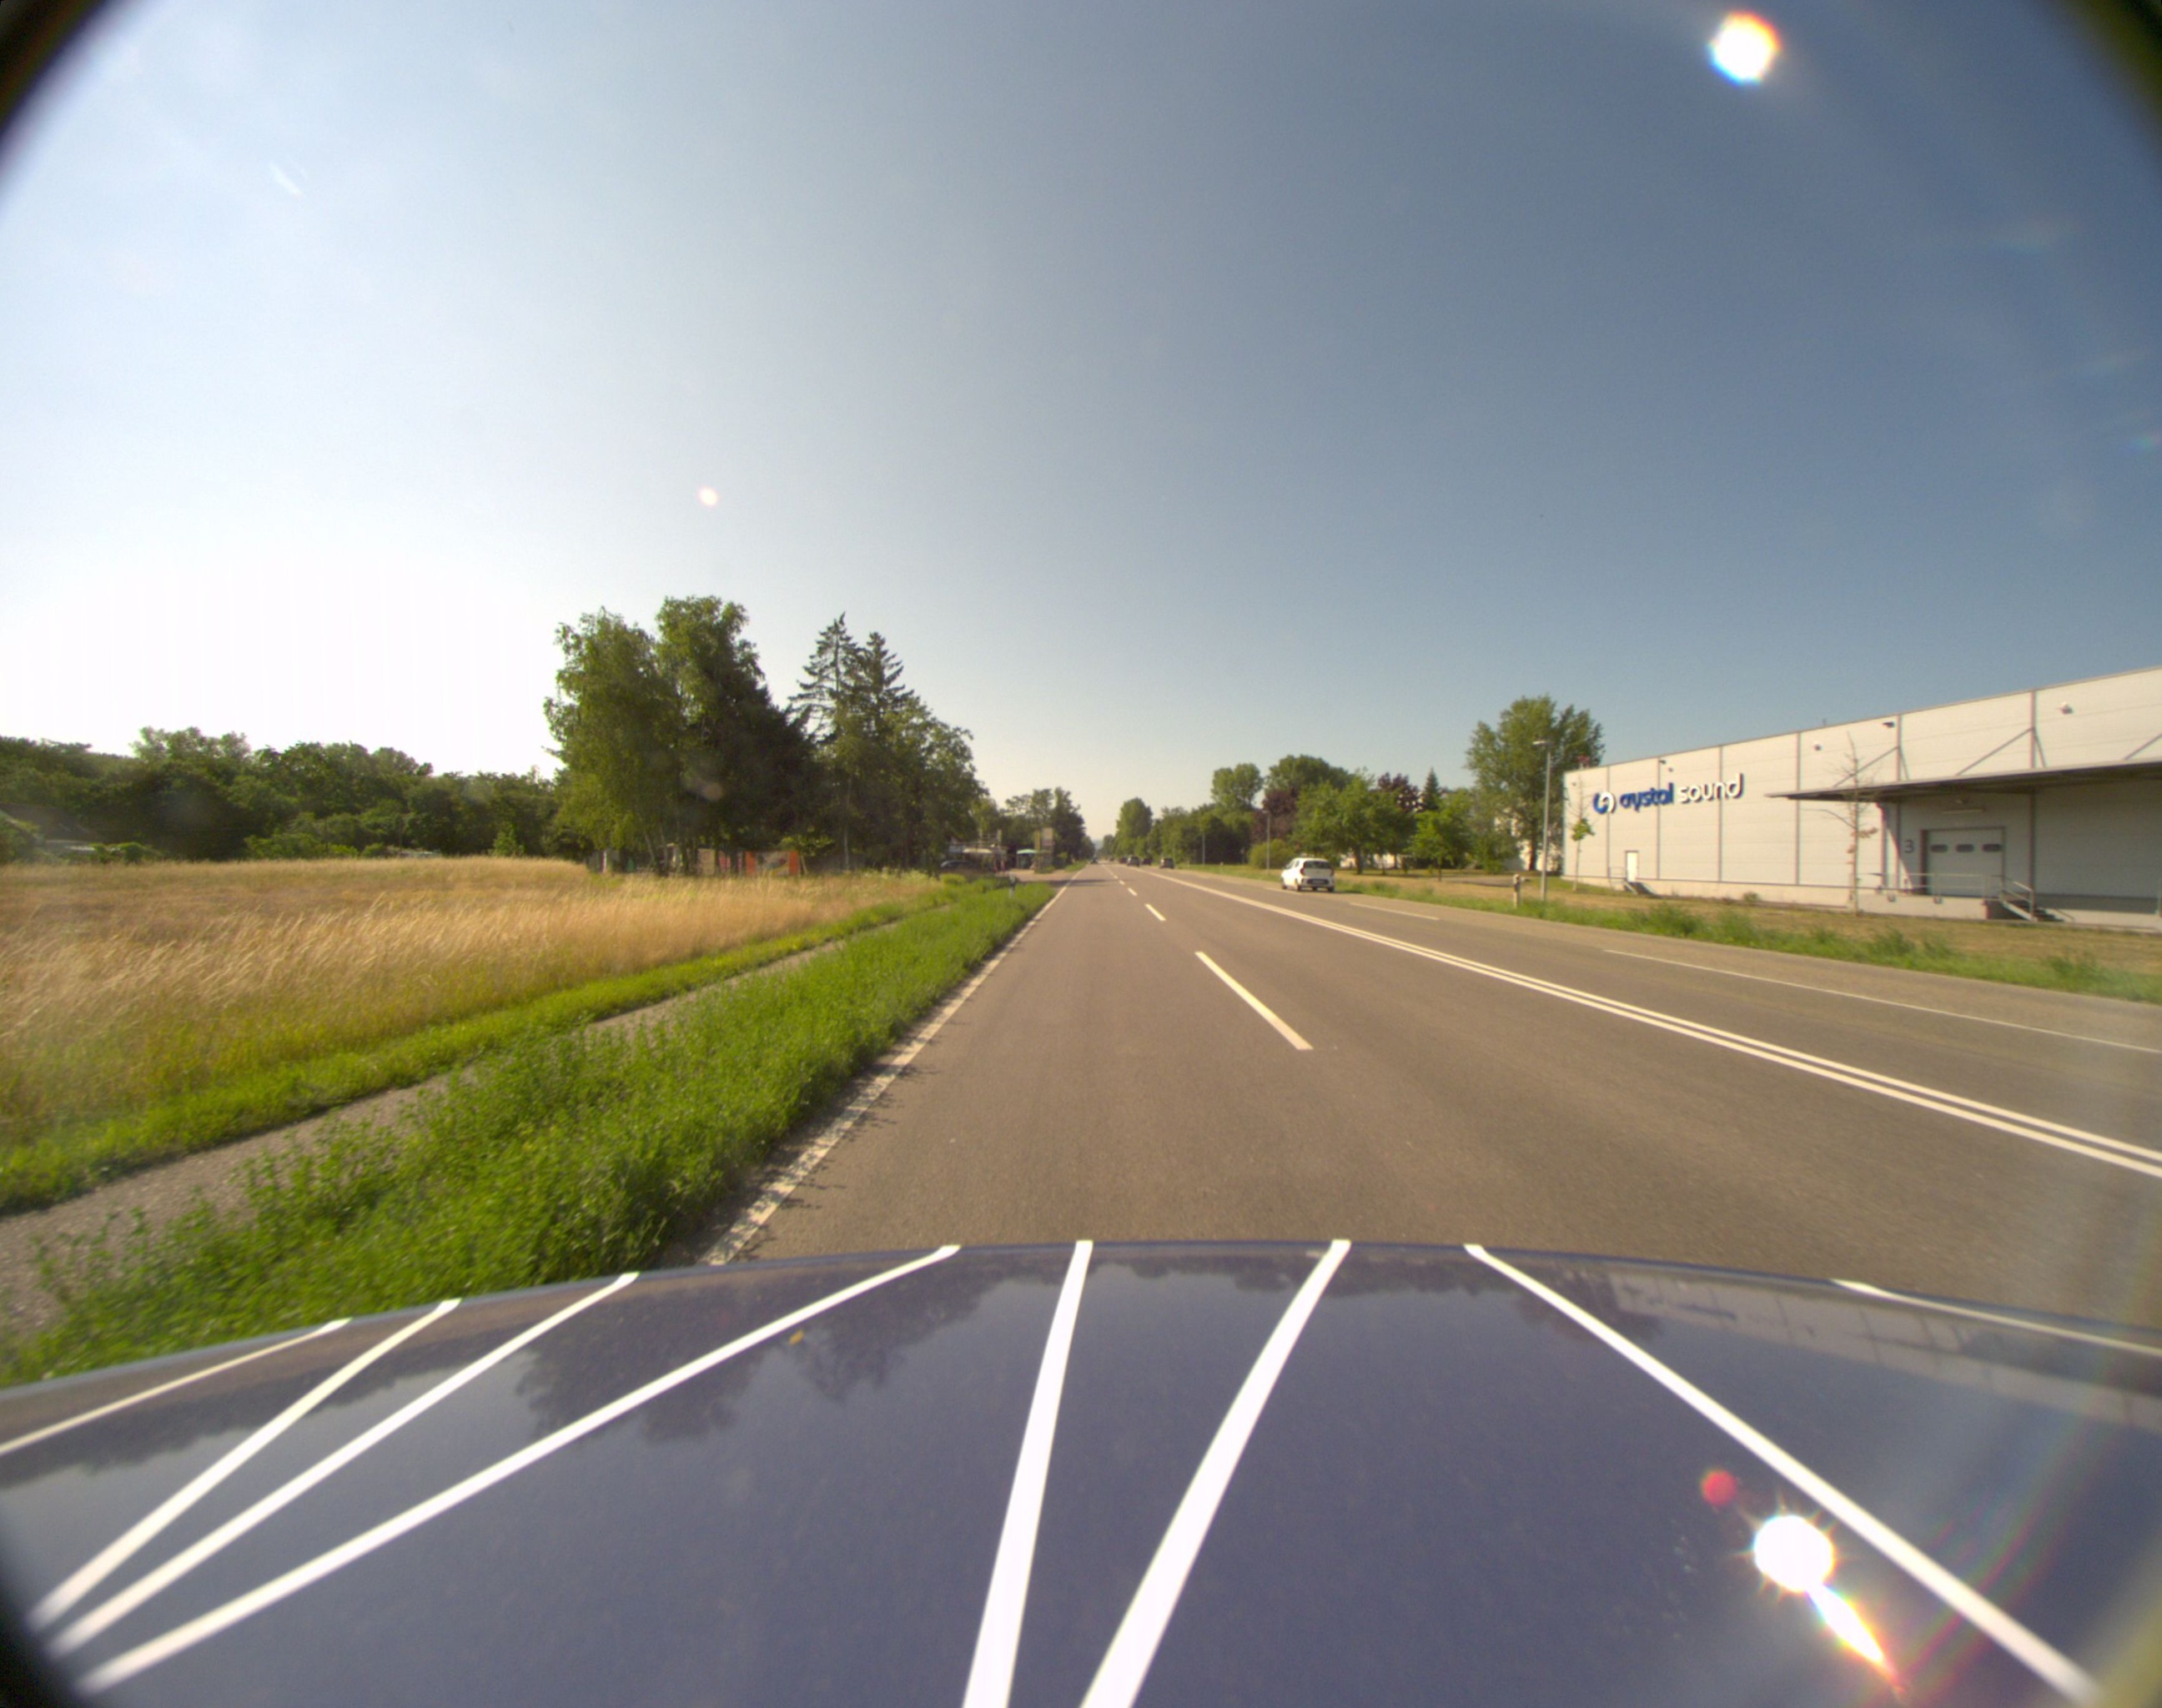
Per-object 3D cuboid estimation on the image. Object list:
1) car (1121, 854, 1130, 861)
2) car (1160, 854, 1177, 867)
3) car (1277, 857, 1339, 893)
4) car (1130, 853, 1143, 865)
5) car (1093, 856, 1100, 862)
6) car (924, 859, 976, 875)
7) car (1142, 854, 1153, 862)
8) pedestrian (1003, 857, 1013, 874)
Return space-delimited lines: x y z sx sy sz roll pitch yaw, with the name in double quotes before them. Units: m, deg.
"car" 10.081 0.811 172.681 1.654 1.489 3.844 2 0 1
"car" 11.532 0.847 100.653 1.733 1.552 4.215 2 0 1
"car" 10.107 0.892 34.083 1.663 1.429 3.735 2 0 1
"car" 8.460 0.776 116.854 1.776 1.704 4.570 2 0 2
"car" 3.762 1.208 183.458 1.768 1.403 4.001 0 -1 2
"car" -12.275 1.181 71.016 4.470 1.422 1.711 0 0 -28
"car" 12.120 0.761 139.313 1.656 1.472 4.740 2 0 1
"pedestrian" -7.865 1.228 81.951 1.100 1.775 0.936 0 1 -8
